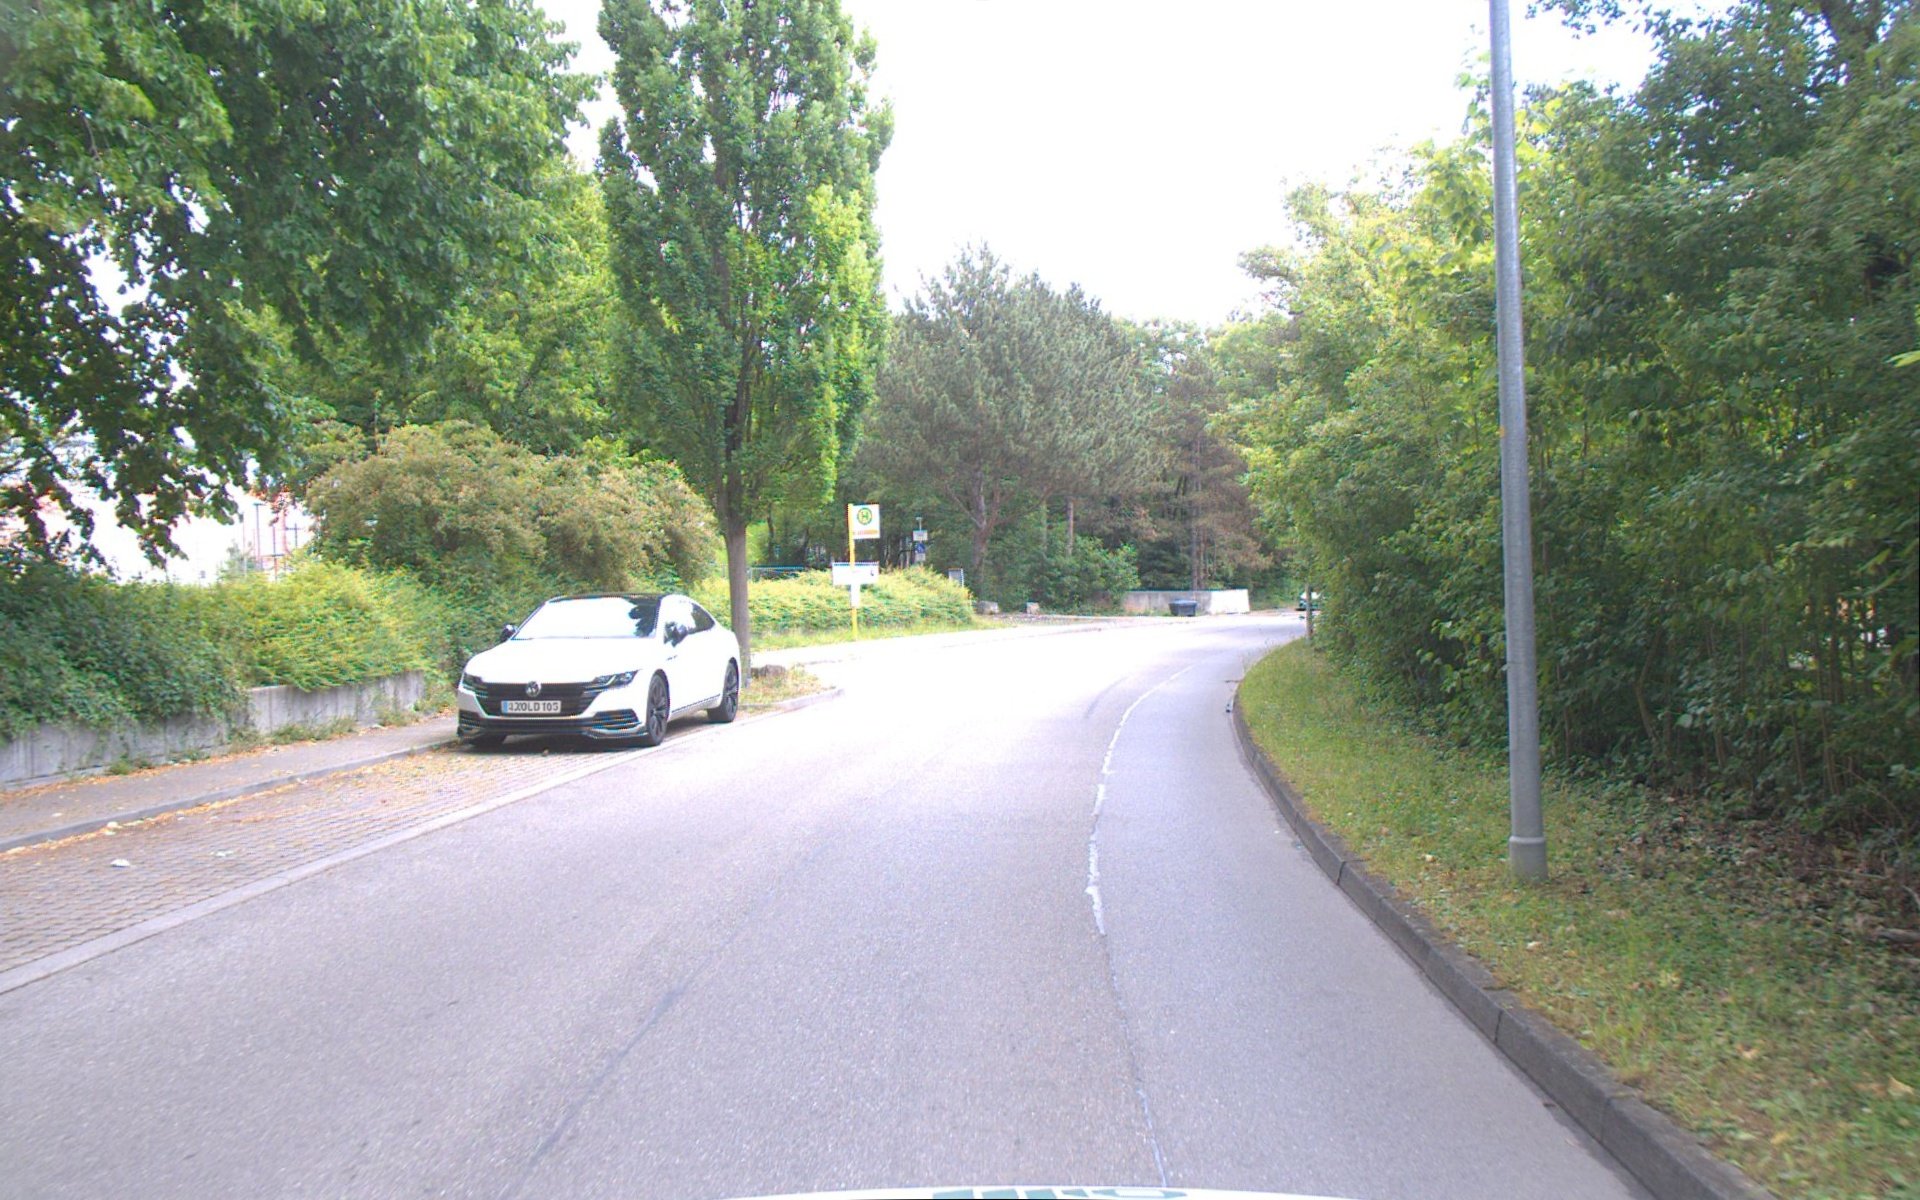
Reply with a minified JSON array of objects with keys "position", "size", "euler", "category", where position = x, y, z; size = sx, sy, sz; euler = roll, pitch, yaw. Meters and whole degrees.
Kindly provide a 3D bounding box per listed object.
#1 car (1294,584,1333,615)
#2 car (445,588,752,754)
[{"position":[19.712,-0.057,92.119],"size":[1.683,1.576,3.726],"euler":[-2,1,18],"category":"car"},{"position":[-3.471,0.616,16.773],"size":[1.775,1.449,4.363],"euler":[0,0,6],"category":"car"}]
